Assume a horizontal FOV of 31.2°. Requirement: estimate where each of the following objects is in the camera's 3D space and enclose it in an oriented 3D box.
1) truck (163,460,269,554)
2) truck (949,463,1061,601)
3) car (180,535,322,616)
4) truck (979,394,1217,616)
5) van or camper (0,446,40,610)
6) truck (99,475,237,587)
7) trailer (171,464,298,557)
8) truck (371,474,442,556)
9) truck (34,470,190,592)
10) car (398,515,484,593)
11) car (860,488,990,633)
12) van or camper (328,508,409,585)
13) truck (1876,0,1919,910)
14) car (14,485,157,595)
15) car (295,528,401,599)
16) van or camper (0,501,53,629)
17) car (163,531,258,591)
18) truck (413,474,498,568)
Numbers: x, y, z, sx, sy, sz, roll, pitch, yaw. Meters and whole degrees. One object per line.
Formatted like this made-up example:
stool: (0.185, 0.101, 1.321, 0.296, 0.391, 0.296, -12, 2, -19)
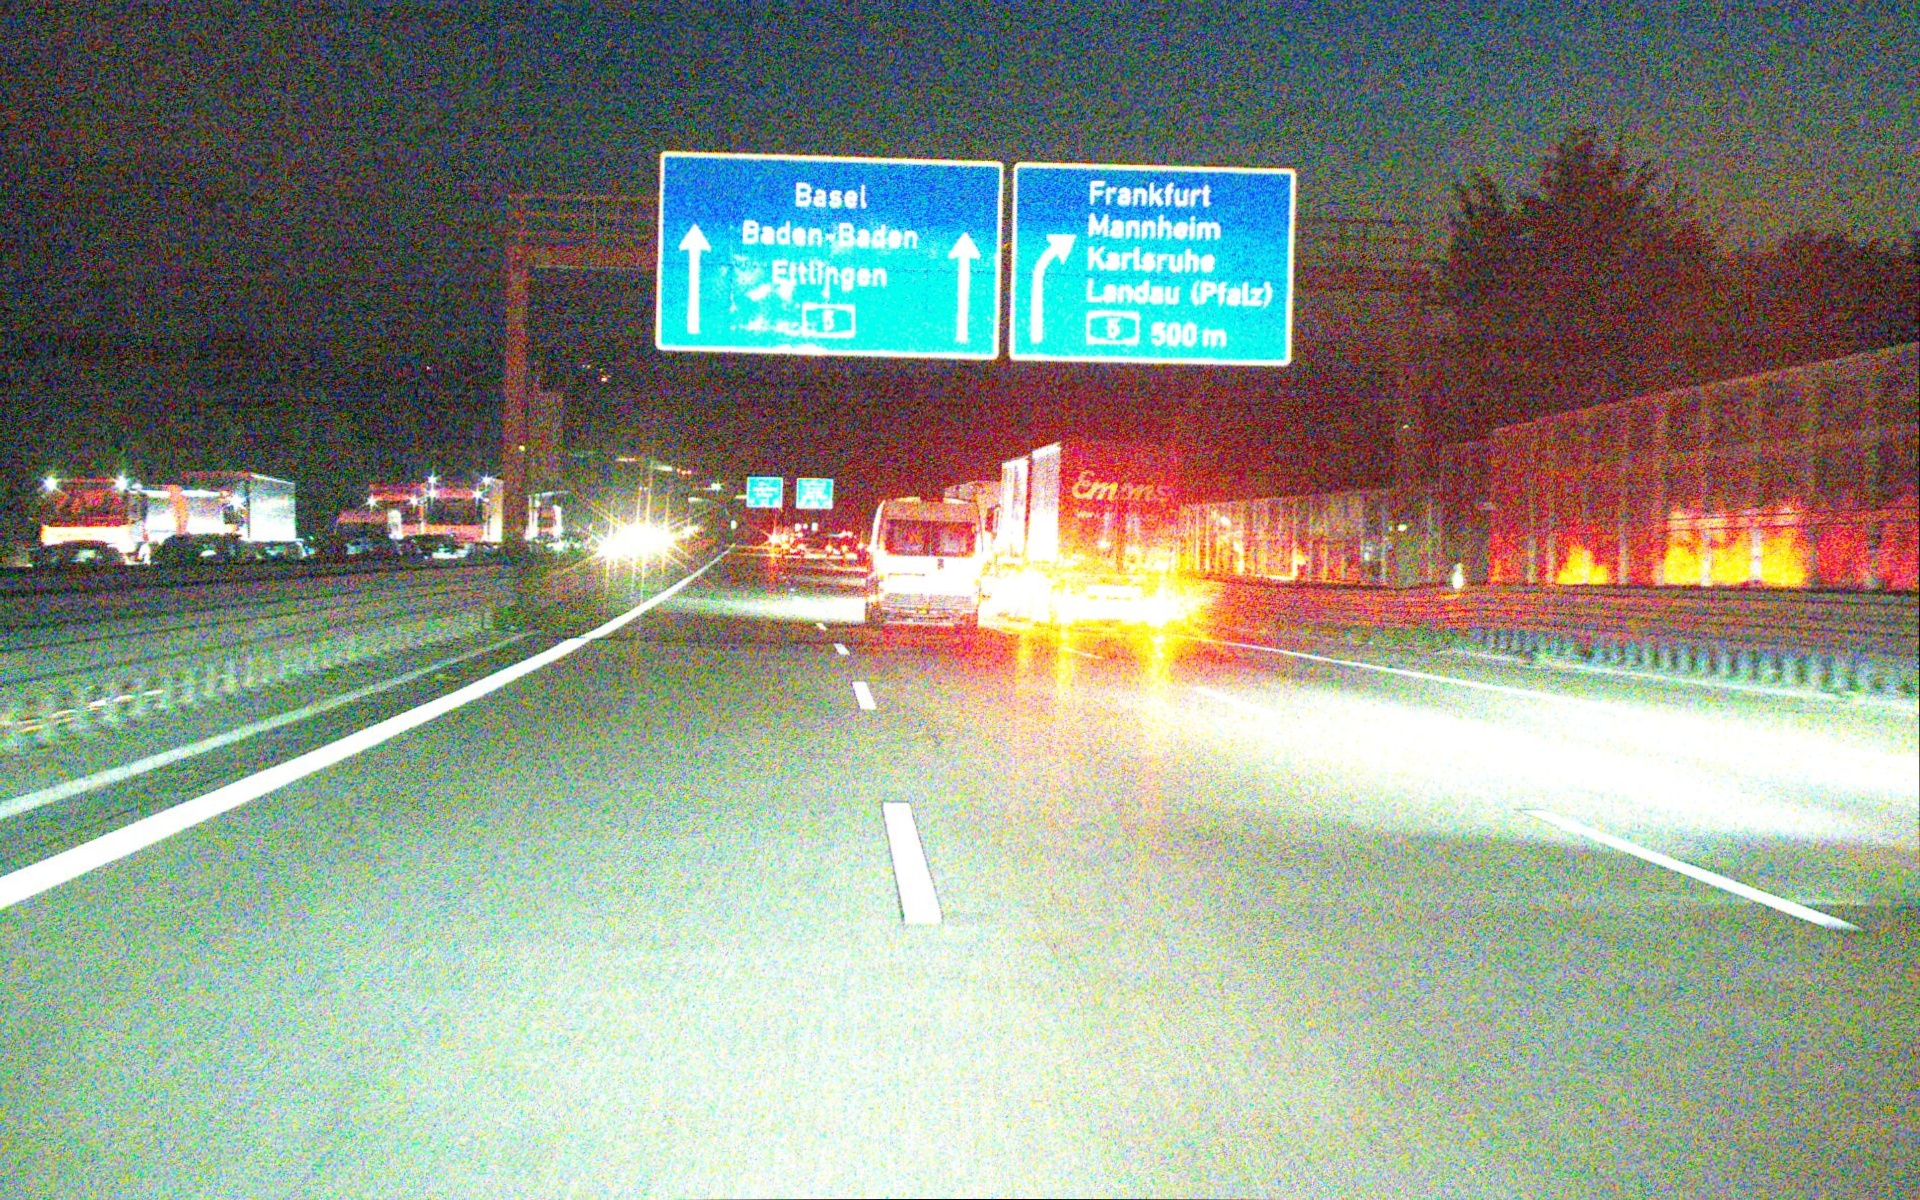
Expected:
truck: (-28.823, -3.573, 133.383, 2.959, 3.430, 6.363, 3, 1, -3)
truck: (1.483, -2.399, 121.327, 3.344, 4.460, 13.911, 3, 1, -1)
car: (-12.485, -0.443, 60.751, 1.570, 1.349, 4.000, 1, 1, 2)
truck: (2.949, -2.030, 82.570, 3.914, 4.611, 21.020, -1, 0, -2)
van or camper: (-20.266, -1.448, 68.060, 2.432, 3.261, 7.394, 1, 1, -3)
truck: (-22.580, -1.909, 98.349, 2.556, 2.975, 7.453, 1, 0, -3)
trailer: (-29.185, -3.546, 138.932, 2.959, 3.430, 13.439, 3, 1, -3)
truck: (-26.081, -4.016, 162.202, 2.873, 3.661, 6.052, 2, 1, -6)
truck: (-22.050, -1.724, 89.748, 2.556, 2.975, 7.453, 1, 0, -3)
car: (-14.428, -1.251, 95.707, 1.993, 2.007, 4.001, 3, 0, -4)
car: (-0.696, -0.715, 66.421, 2.337, 2.631, 5.247, 2, -1, -1)
van or camper: (-20.913, -1.895, 121.845, 2.083, 2.623, 7.606, 1, 1, -4)
truck: (5.703, -0.645, 11.785, 2.861, 4.063, 7.511, 0, 1, -2)
car: (-17.244, -1.156, 67.963, 1.993, 2.007, 4.001, 3, 0, -4)
car: (-12.221, -0.741, 68.778, 1.570, 1.349, 4.001, 1, 1, -3)
van or camper: (-10.998, -0.381, 35.887, 1.820, 1.349, 5.352, 1, 1, -2)
car: (-17.491, -0.921, 80.345, 1.570, 1.349, 4.001, 1, 1, -4)
truck: (-21.422, -3.307, 146.230, 2.874, 3.661, 6.781, 3, 0, -4)
